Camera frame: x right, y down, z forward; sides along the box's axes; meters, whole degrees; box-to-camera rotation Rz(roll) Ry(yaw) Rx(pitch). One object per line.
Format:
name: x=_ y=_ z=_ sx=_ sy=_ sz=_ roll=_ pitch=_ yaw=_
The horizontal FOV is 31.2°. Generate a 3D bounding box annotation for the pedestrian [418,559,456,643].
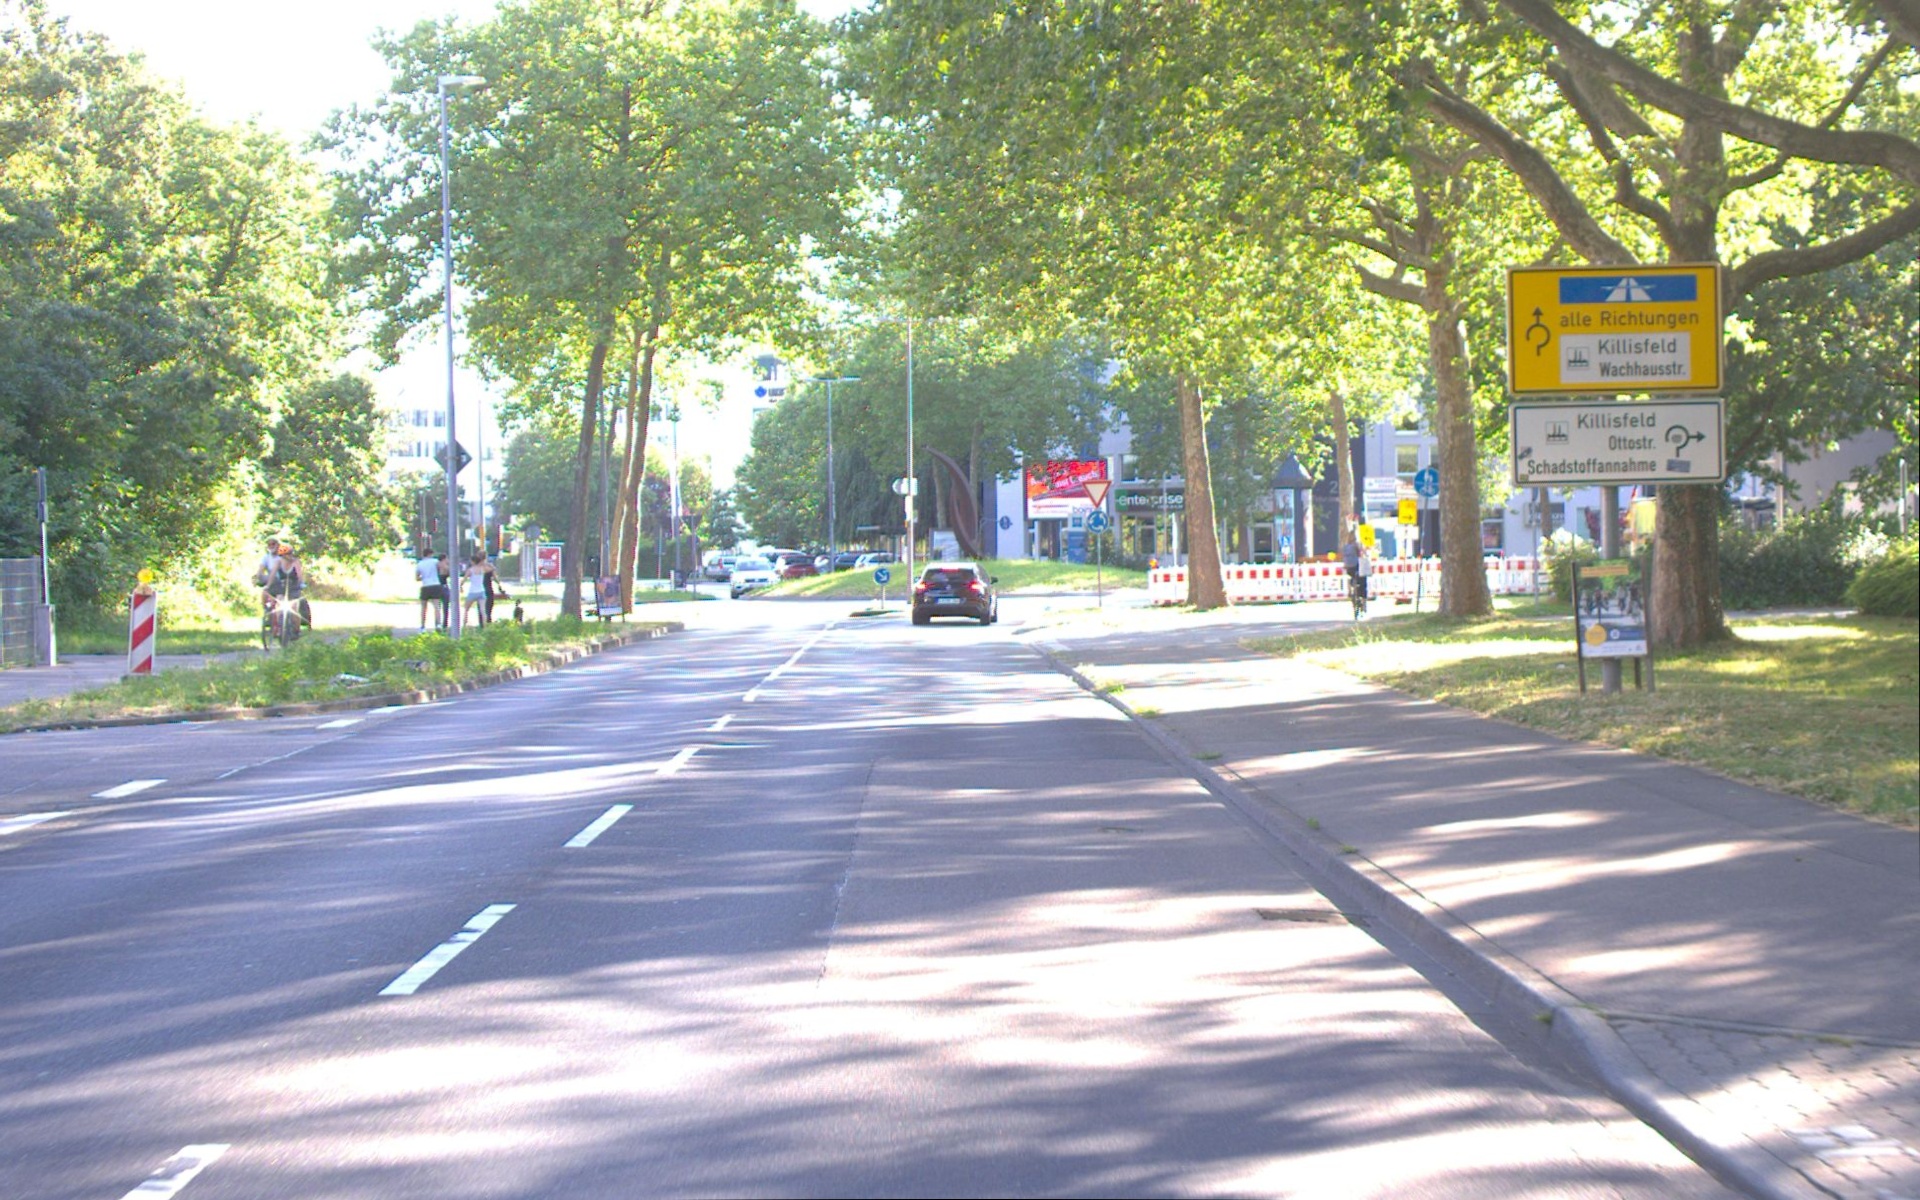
pedestrian: x=-10.872 y=0.014 z=71.494 sx=0.665 sy=1.733 sz=0.751 roll=0 pitch=0 yaw=1

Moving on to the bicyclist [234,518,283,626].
bicyclist: x=-12.061 y=-0.482 z=59.112 sx=0.579 sy=1.825 sz=0.968 roll=-3 pitch=0 yaw=-2

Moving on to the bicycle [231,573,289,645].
bicycle: x=-12.029 y=0.144 z=59.127 sx=0.579 sy=1.182 sz=2.032 roll=-3 pitch=0 yaw=-2

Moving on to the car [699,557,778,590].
car: x=-12.324 y=-1.482 z=191.369 sx=3.986 sy=1.741 sz=1.795 roll=1 pitch=0 yaw=-30

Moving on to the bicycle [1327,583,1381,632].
bicycle: x=7.922 y=0.154 z=69.217 sx=0.770 sy=0.961 sz=2.174 roll=-2 pitch=0 yaw=-1

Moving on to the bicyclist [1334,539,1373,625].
bicyclist: x=7.935 y=-0.360 z=69.366 sx=0.651 sy=1.699 sz=0.871 roll=1 pitch=0 yaw=0

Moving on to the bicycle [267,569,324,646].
bicycle: x=-11.057 y=0.114 z=57.237 sx=0.579 sy=1.241 sz=2.108 roll=-1 pitch=1 yaw=-2

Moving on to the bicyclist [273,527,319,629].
bicyclist: x=-11.061 y=-0.369 z=57.259 sx=0.579 sy=1.674 sz=0.971 roll=-1 pitch=1 yaw=-2

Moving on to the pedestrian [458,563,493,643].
pedestrian: x=-9.932 y=0.067 z=70.420 sx=0.632 sy=1.632 sz=0.576 roll=0 pitch=0 yaw=-16

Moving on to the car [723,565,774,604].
car: x=-8.695 y=-0.624 z=141.000 sx=1.993 sy=1.573 sz=4.001 roll=0 pitch=0 yaw=-5

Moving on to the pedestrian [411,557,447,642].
pedestrian: x=-10.883 y=-0.021 z=70.483 sx=0.632 sy=1.733 sz=0.664 roll=0 pitch=0 yaw=1

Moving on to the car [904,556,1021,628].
car: x=0.088 y=-0.207 z=79.796 sx=1.840 sy=1.600 sz=3.860 roll=-1 pitch=1 yaw=14

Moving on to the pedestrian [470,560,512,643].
pedestrian: x=-9.777 y=0.026 z=71.708 sx=0.748 sy=1.733 sz=0.852 roll=0 pitch=0 yaw=1
